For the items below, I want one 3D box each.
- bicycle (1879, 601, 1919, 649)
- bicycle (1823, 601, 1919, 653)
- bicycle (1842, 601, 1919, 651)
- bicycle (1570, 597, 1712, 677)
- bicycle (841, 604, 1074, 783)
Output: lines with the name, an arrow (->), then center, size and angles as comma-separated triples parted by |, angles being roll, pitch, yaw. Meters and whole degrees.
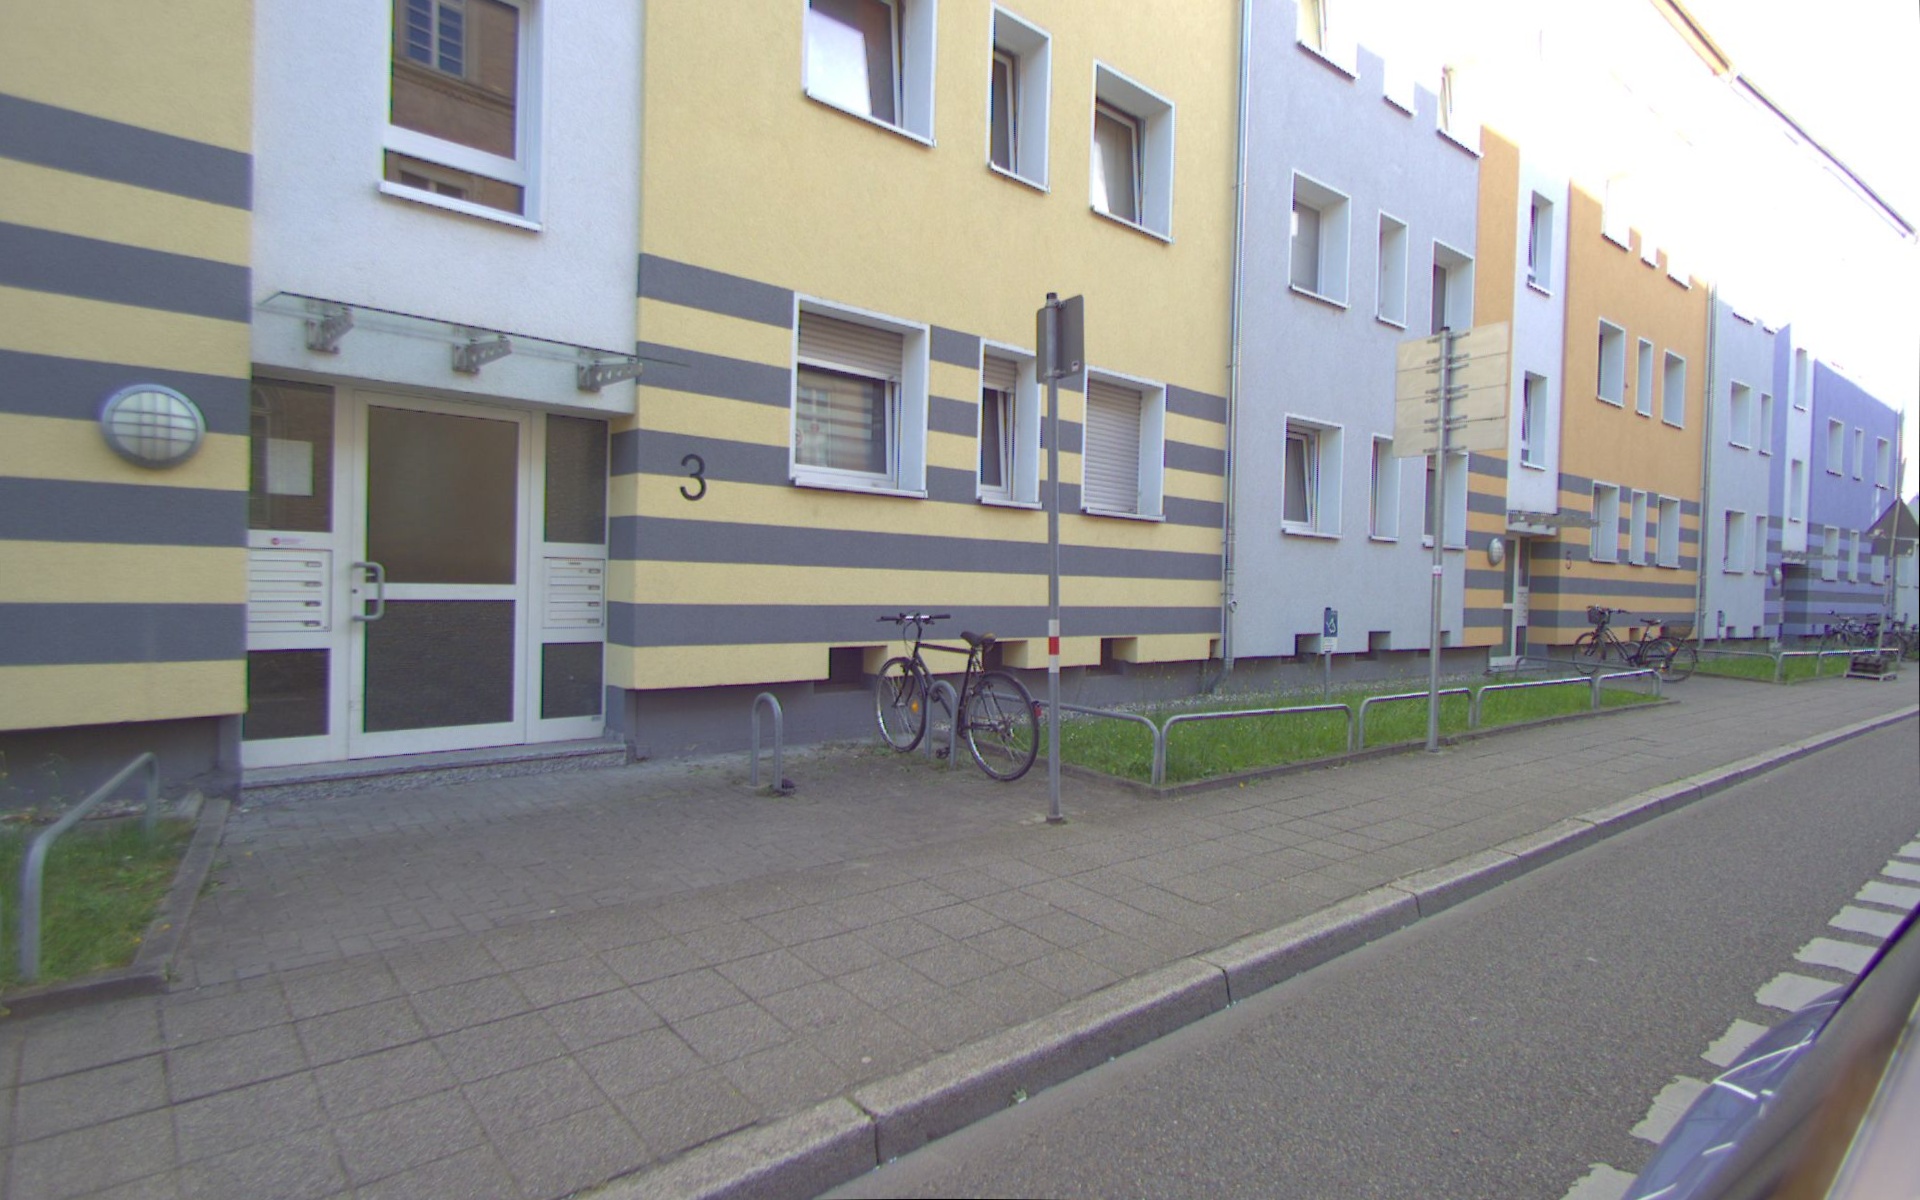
bicycle -> 24.141, 0.644, 25.273 | 0.475, 1.166, 1.678 | 1, 1, -37
bicycle -> 22.232, 0.650, 24.724 | 0.475, 1.166, 1.678 | 1, 1, -37
bicycle -> 23.313, 0.633, 25.417 | 0.475, 1.166, 1.678 | 1, 1, -37
bicycle -> 10.692, 0.553, 15.942 | 1.775, 1.137, 0.476 | 3, 1, 44
bicycle -> -0.070, 0.581, 7.014 | 1.775, 1.031, 0.476 | 3, 1, 44
